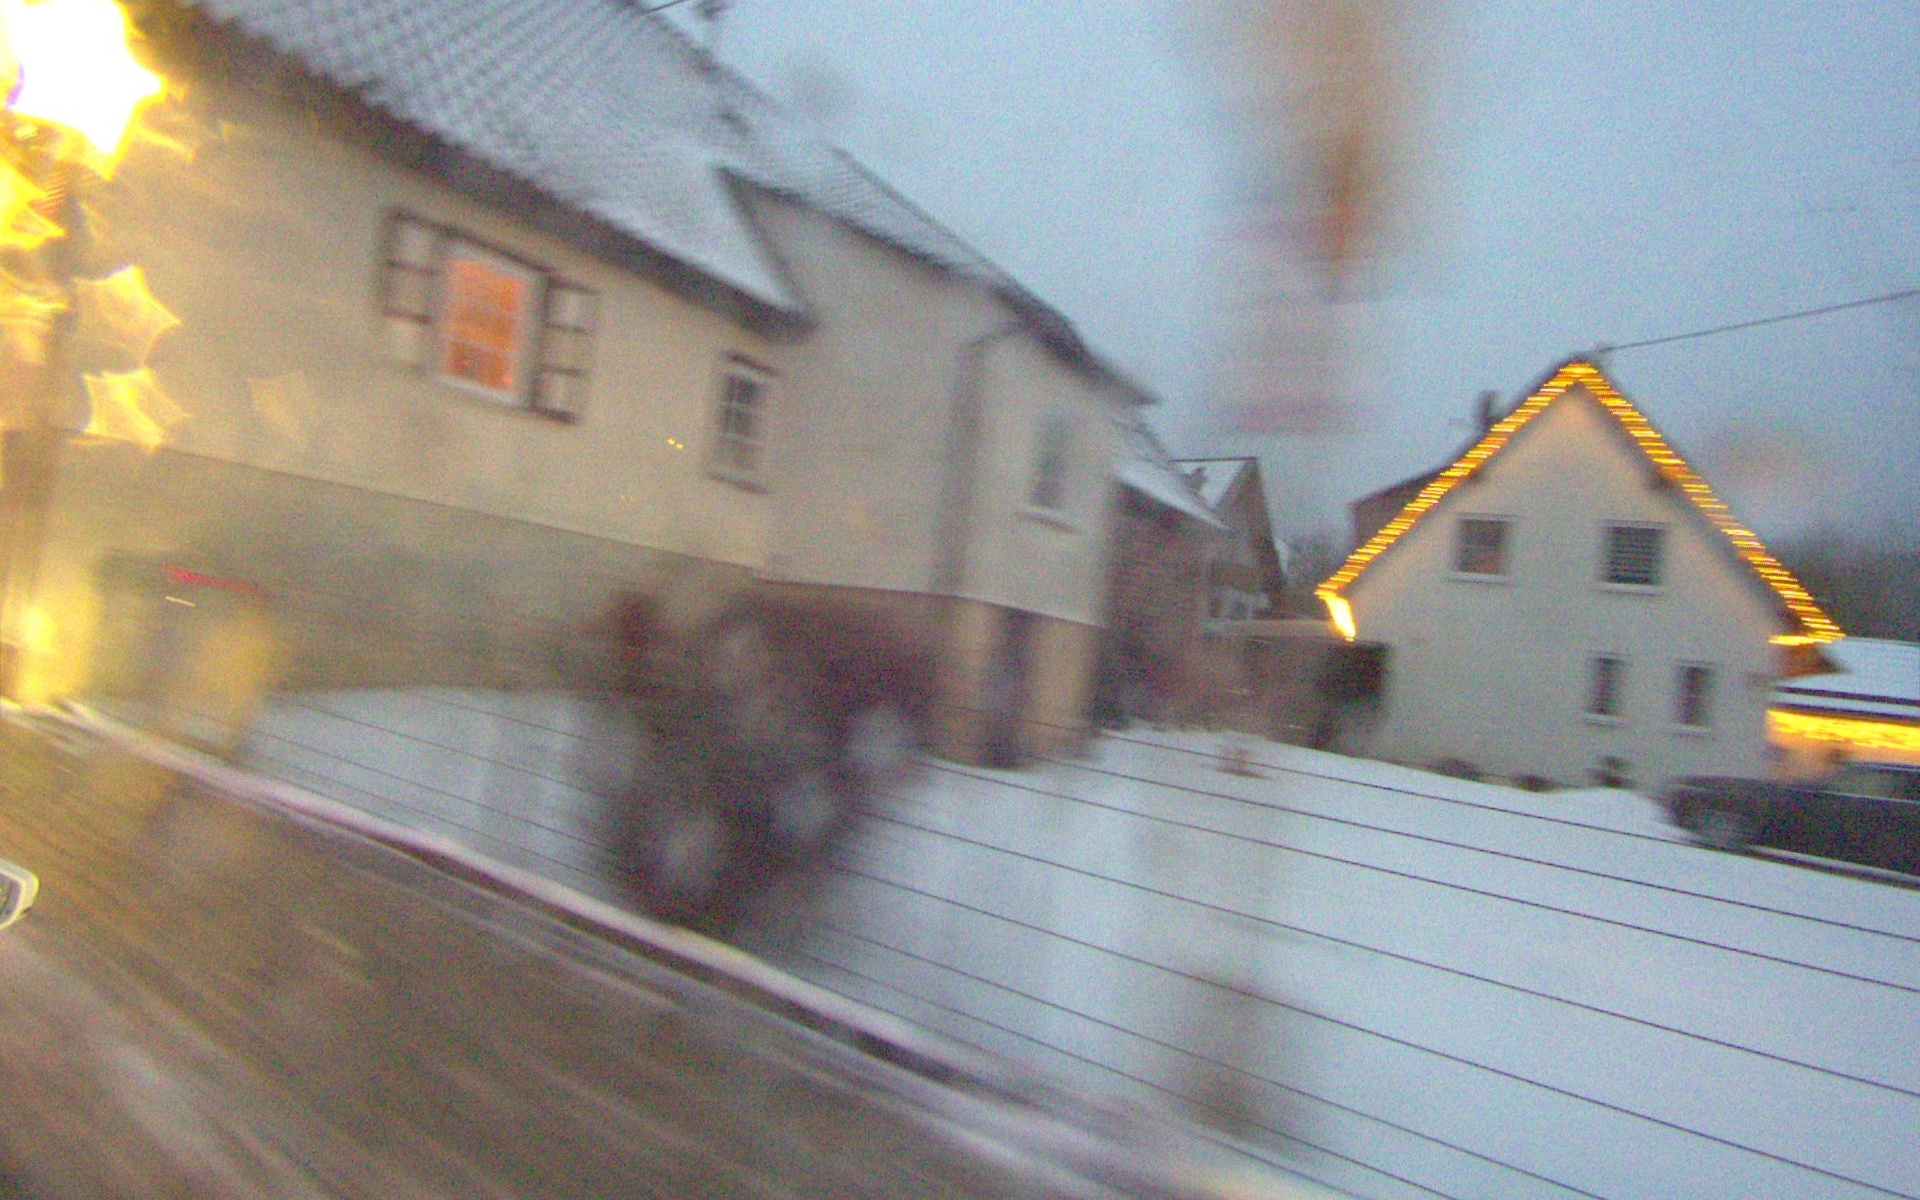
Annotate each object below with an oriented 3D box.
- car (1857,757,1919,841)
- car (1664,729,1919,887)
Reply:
[{"bbox_3d":[20.400,4.196,20.341,2.015,1.519,4.094,6,-3,23],"label":"car"},{"bbox_3d":[12.722,2.935,13.915,2.315,1.627,4.471,9,-3,-44],"label":"car"}]
